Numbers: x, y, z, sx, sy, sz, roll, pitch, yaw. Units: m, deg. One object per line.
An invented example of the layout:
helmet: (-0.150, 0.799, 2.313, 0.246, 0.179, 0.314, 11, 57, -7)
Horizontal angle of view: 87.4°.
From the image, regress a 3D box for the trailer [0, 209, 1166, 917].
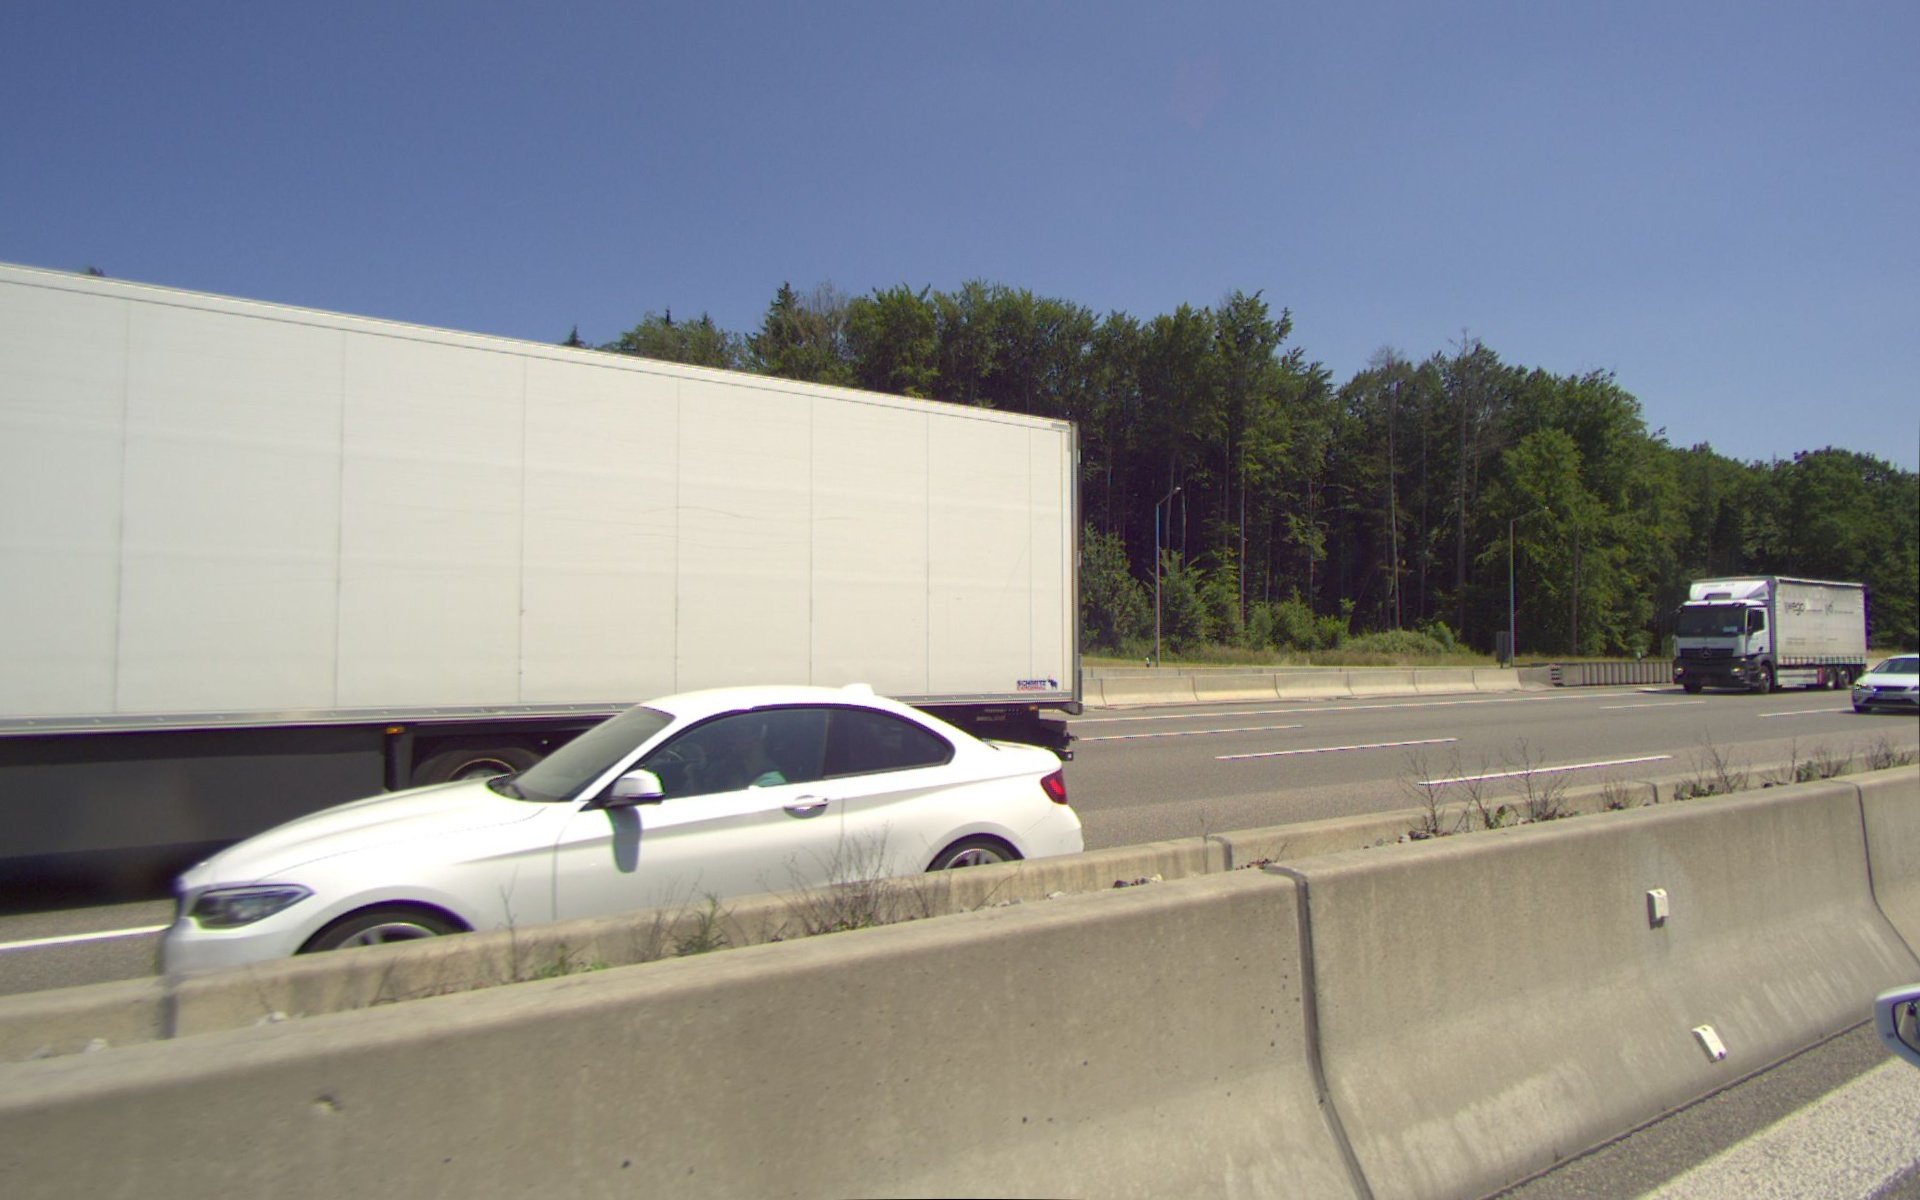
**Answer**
trailer: (-4.675, -0.147, 8.486, 14.298, 4.281, 3.009, 1, -2, -31)

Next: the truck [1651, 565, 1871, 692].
truck: (30.054, 1.128, 37.510, 10.472, 4.252, 2.822, 1, -3, -30)

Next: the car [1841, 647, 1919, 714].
car: (23.861, 1.943, 24.988, 4.411, 1.526, 1.713, 1, -2, -32)

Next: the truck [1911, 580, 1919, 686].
truck: (39.010, 1.241, 37.949, 6.935, 3.891, 2.566, 1, -3, -31)

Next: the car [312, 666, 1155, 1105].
car: (-1.052, 1.154, 5.489, 4.110, 1.477, 1.738, 1, -2, -32)
